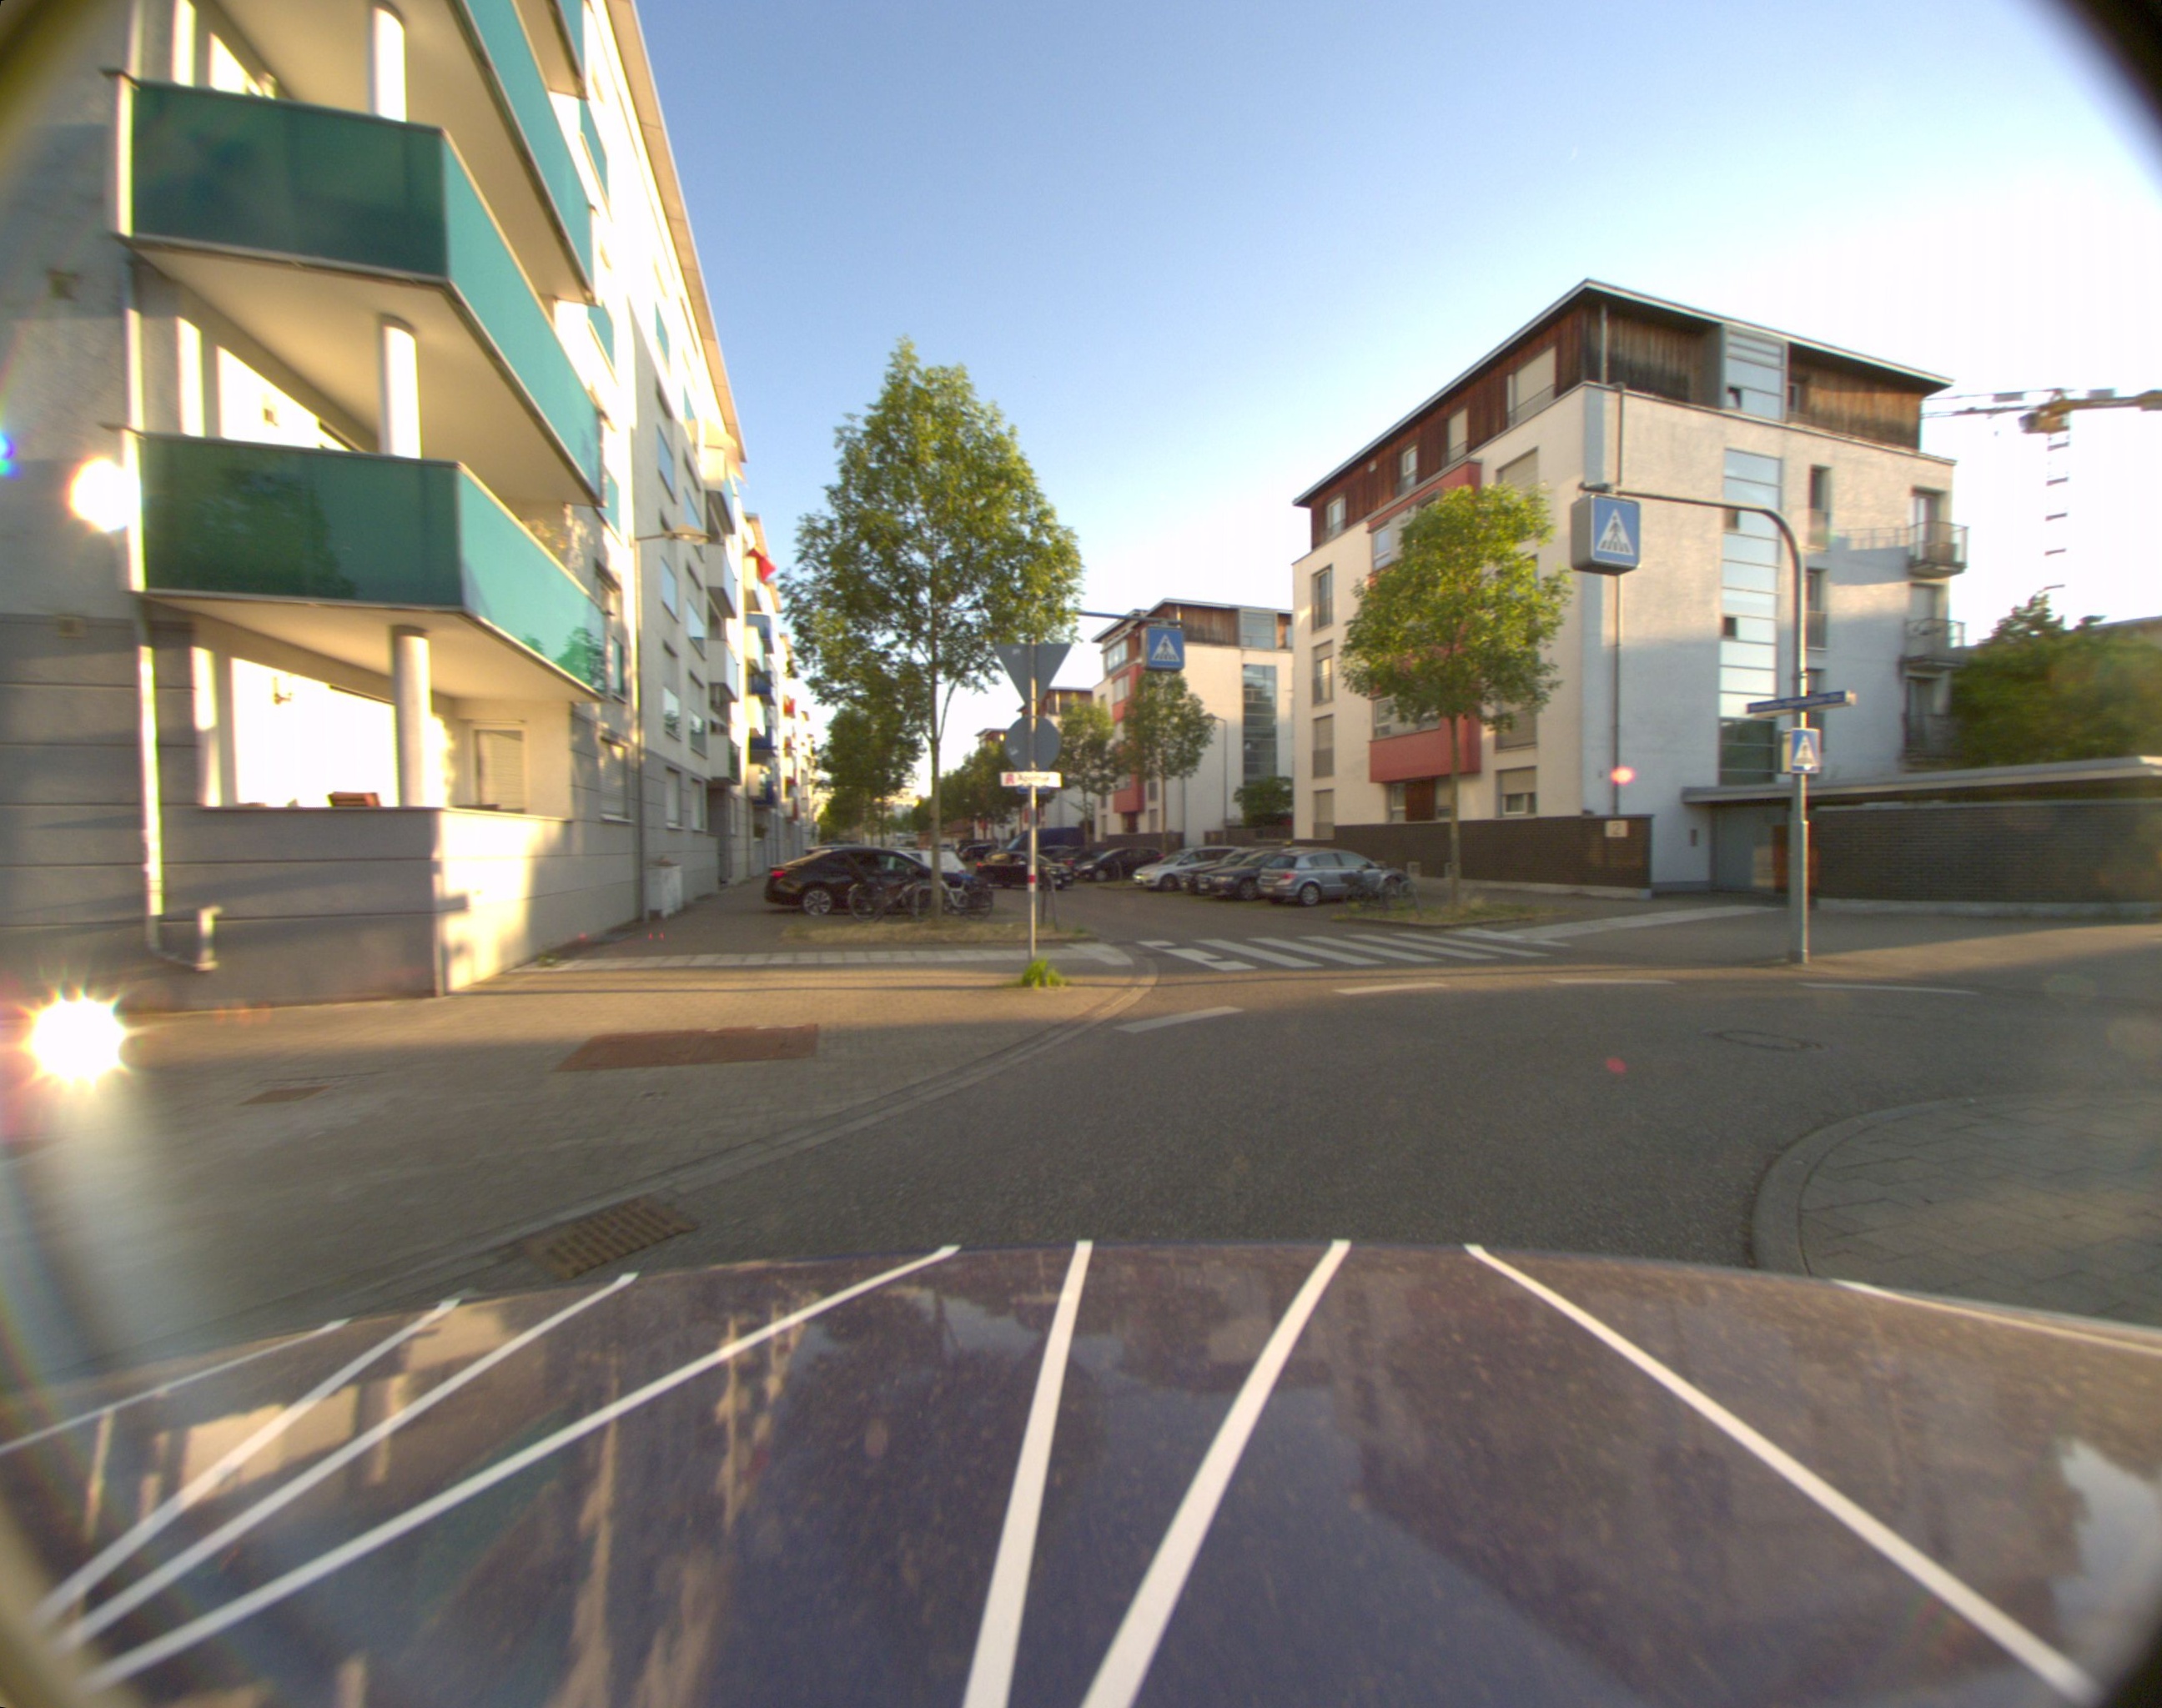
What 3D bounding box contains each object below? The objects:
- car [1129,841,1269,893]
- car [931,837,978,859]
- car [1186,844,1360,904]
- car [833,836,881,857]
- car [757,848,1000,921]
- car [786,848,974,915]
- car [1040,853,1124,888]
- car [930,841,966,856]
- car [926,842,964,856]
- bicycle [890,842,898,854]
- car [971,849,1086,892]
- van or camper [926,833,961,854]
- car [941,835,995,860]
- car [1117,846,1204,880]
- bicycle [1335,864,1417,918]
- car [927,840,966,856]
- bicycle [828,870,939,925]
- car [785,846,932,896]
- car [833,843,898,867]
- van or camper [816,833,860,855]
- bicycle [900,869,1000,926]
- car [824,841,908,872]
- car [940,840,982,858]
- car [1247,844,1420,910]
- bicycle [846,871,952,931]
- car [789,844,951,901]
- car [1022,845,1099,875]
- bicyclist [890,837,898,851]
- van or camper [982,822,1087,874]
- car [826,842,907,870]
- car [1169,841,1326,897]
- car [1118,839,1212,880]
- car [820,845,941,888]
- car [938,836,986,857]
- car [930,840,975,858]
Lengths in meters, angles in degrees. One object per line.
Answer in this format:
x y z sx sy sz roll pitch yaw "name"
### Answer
4.341 0.437 27.897 4.766 1.576 1.755 -3 2 -21 "car"
-12.462 -0.611 74.896 4.258 1.991 1.689 2 0 -19 "car"
5.790 0.541 22.883 4.922 1.470 1.707 -3 2 -20 "car"
-20.784 -0.664 70.559 4.257 1.768 1.690 2 0 -17 "car"
-4.408 0.665 16.882 4.894 1.449 1.935 2 0 -16 "car"
-5.074 0.640 19.468 4.418 1.499 1.740 -2 1 -14 "car"
0.032 0.839 40.602 4.108 1.616 1.720 -2 2 -22 "car"
-16.544 -0.652 94.558 4.257 1.776 1.690 2 0 -17 "car"
-16.364 -0.617 91.519 4.257 1.629 1.690 2 0 -17 "car"
-20.812 -0.685 84.544 0.773 1.260 1.778 -1 1 -19 "bicycle"
-2.066 0.606 29.528 4.166 1.454 1.782 2 0 30 "car"
-17.958 -1.381 99.262 4.258 2.520 1.758 2 1 -17 "van or camper"
-9.459 -0.552 63.539 4.258 1.919 1.689 2 0 -19 "car"
3.967 0.406 37.984 3.925 1.507 1.720 -2 2 -22 "car"
6.854 0.832 17.646 1.824 1.060 0.566 -5 2 -20 "bicycle"
-15.790 -0.673 89.305 4.257 1.776 1.690 2 0 -17 "car"
-3.873 0.854 14.948 2.038 1.040 0.472 1 0 -22 "bicycle"
-7.015 0.520 24.333 4.297 1.449 1.741 2 0 -9 "car"
-14.959 0.073 52.768 4.257 1.527 1.690 2 0 -17 "car"
-25.110 -1.019 78.673 4.258 2.198 1.690 2 1 -18 "van or camper"
-2.550 0.848 14.867 1.842 1.065 0.472 1 0 -22 "bicycle"
-11.497 0.148 40.616 4.109 1.500 1.663 2 0 -22 "car"
-13.039 -0.539 82.631 4.258 1.776 1.689 2 0 -19 "car"
6.817 0.560 20.527 4.297 1.449 1.677 -3 2 -20 "car"
-3.325 0.844 13.896 1.795 1.036 0.566 1 0 -22 "bicycle"
-6.067 0.531 21.923 4.300 1.485 1.739 2 0 -18 "car"
-1.191 0.346 44.521 4.109 1.616 1.720 2 0 -22 "car"
-20.830 -1.101 84.553 0.768 1.618 0.662 -2 1 -19 "bicyclist"
-3.020 -0.428 49.435 6.324 3.070 2.437 -2 2 -22 "van or camper"
-12.291 0.124 43.522 4.259 1.500 1.748 2 0 -22 "car"
5.524 0.461 25.280 4.790 1.546 1.708 -3 2 -14 "car"
3.893 0.234 35.077 3.925 1.701 1.720 -2 2 -22 "car"
-7.694 0.479 29.167 4.301 1.499 1.682 2 0 -21 "car"
-11.462 -0.726 72.985 4.258 1.919 1.689 2 0 -19 "car"
-13.071 -0.503 77.113 4.258 1.776 1.689 2 0 -19 "car"
